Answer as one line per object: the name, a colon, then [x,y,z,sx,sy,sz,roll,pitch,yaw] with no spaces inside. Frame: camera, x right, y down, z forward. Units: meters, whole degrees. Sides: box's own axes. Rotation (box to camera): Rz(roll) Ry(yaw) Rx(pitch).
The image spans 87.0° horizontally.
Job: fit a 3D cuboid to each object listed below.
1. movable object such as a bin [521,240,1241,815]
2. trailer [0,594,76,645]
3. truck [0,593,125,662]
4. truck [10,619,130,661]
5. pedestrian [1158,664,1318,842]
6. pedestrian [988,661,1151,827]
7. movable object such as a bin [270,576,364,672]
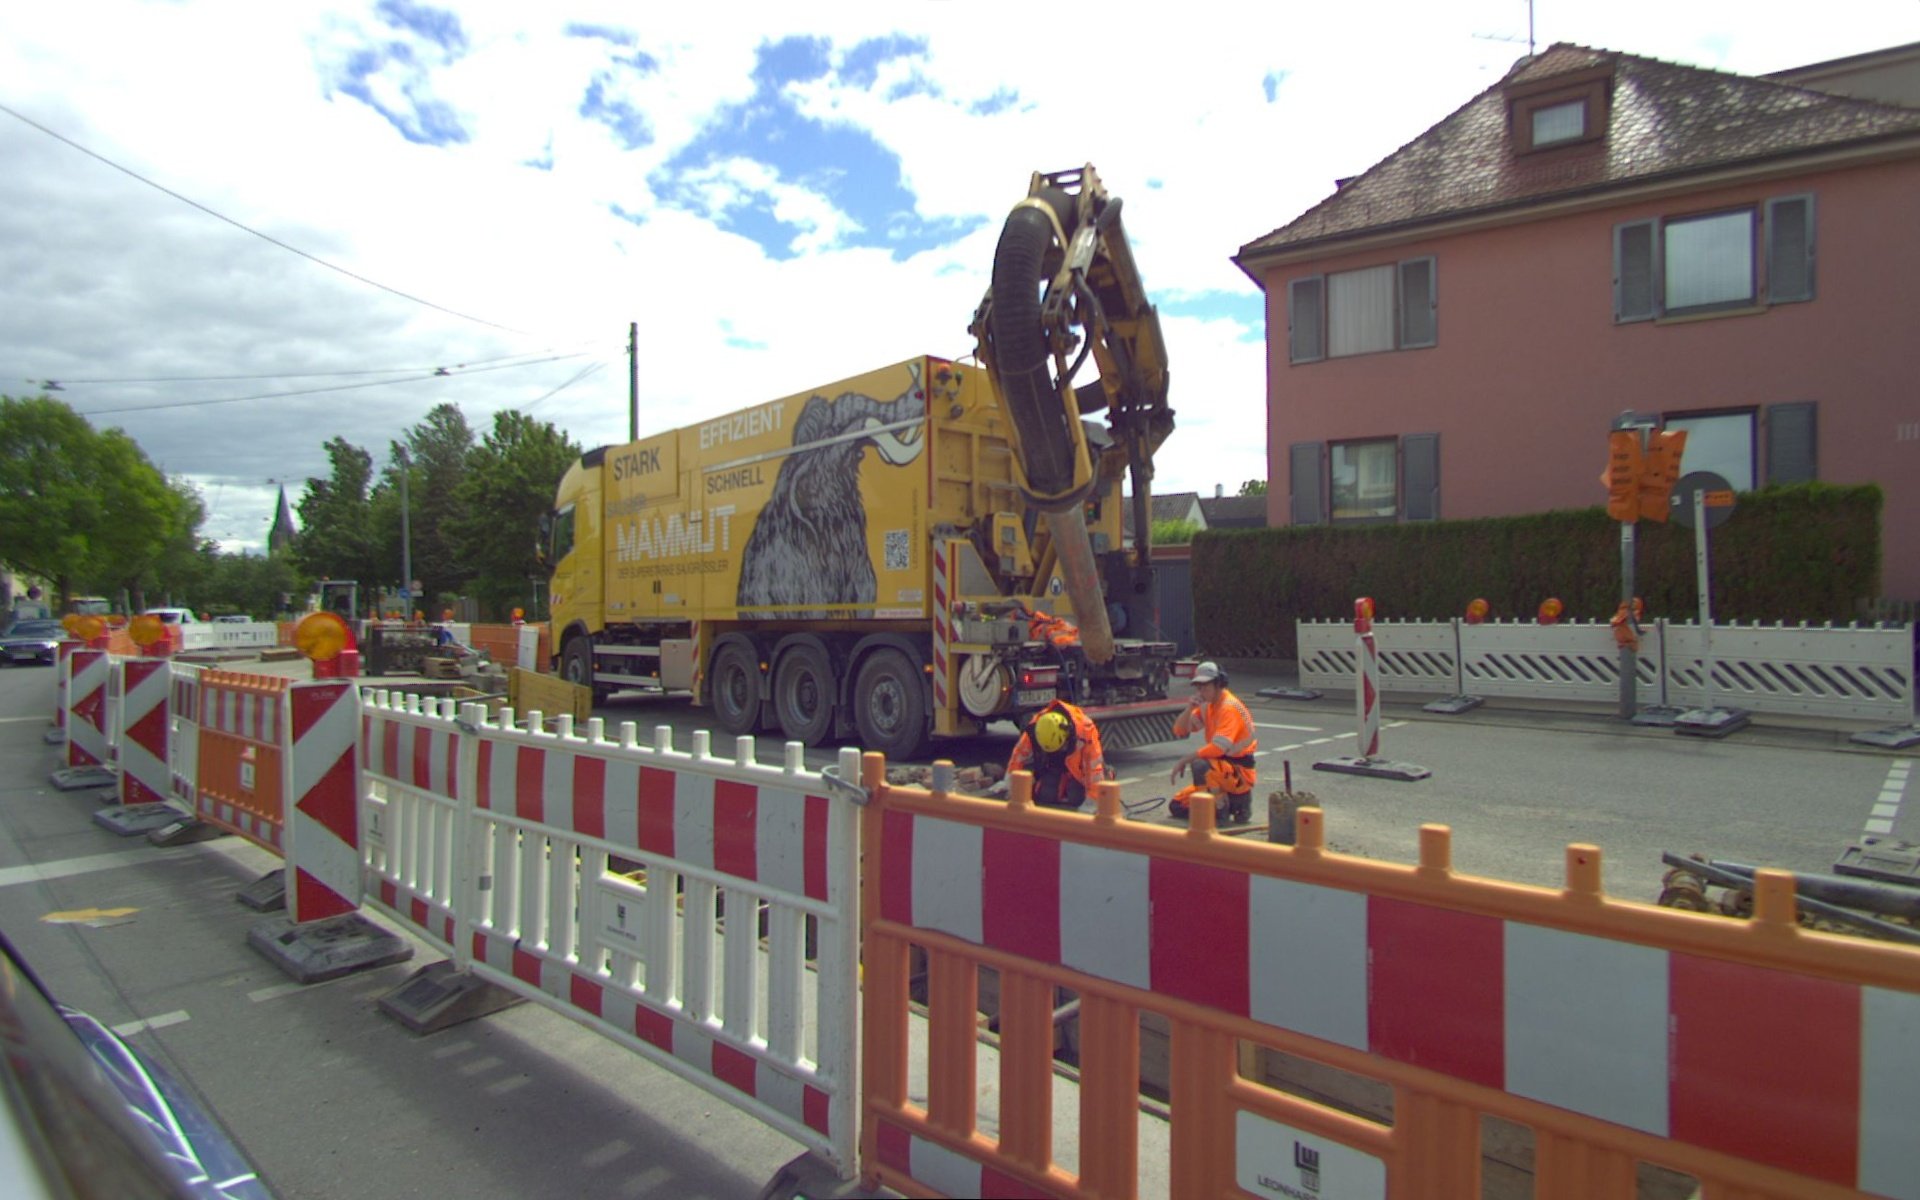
movable object such as a bin: [-2.150,-0.450,12.471,2.560,4.253,11.134,0,-1,-42]
trailer: [-45.331,0.965,49.071,2.557,2.262,5.691,-4,1,-30]
truck: [-49.752,1.532,55.428,6.557,3.222,2.336,-5,-1,9]
truck: [-51.428,2.281,58.518,5.893,2.029,1.993,-4,-1,11]
pedestrian: [1.750,0.933,6.450,0.632,0.998,0.796,-1,-1,-18]
pedestrian: [0.738,0.945,6.960,0.779,0.998,0.814,0,-1,-28]
movable object such as a bin: [-19.682,0.696,31.226,1.965,2.645,6.543,0,-1,-28]
